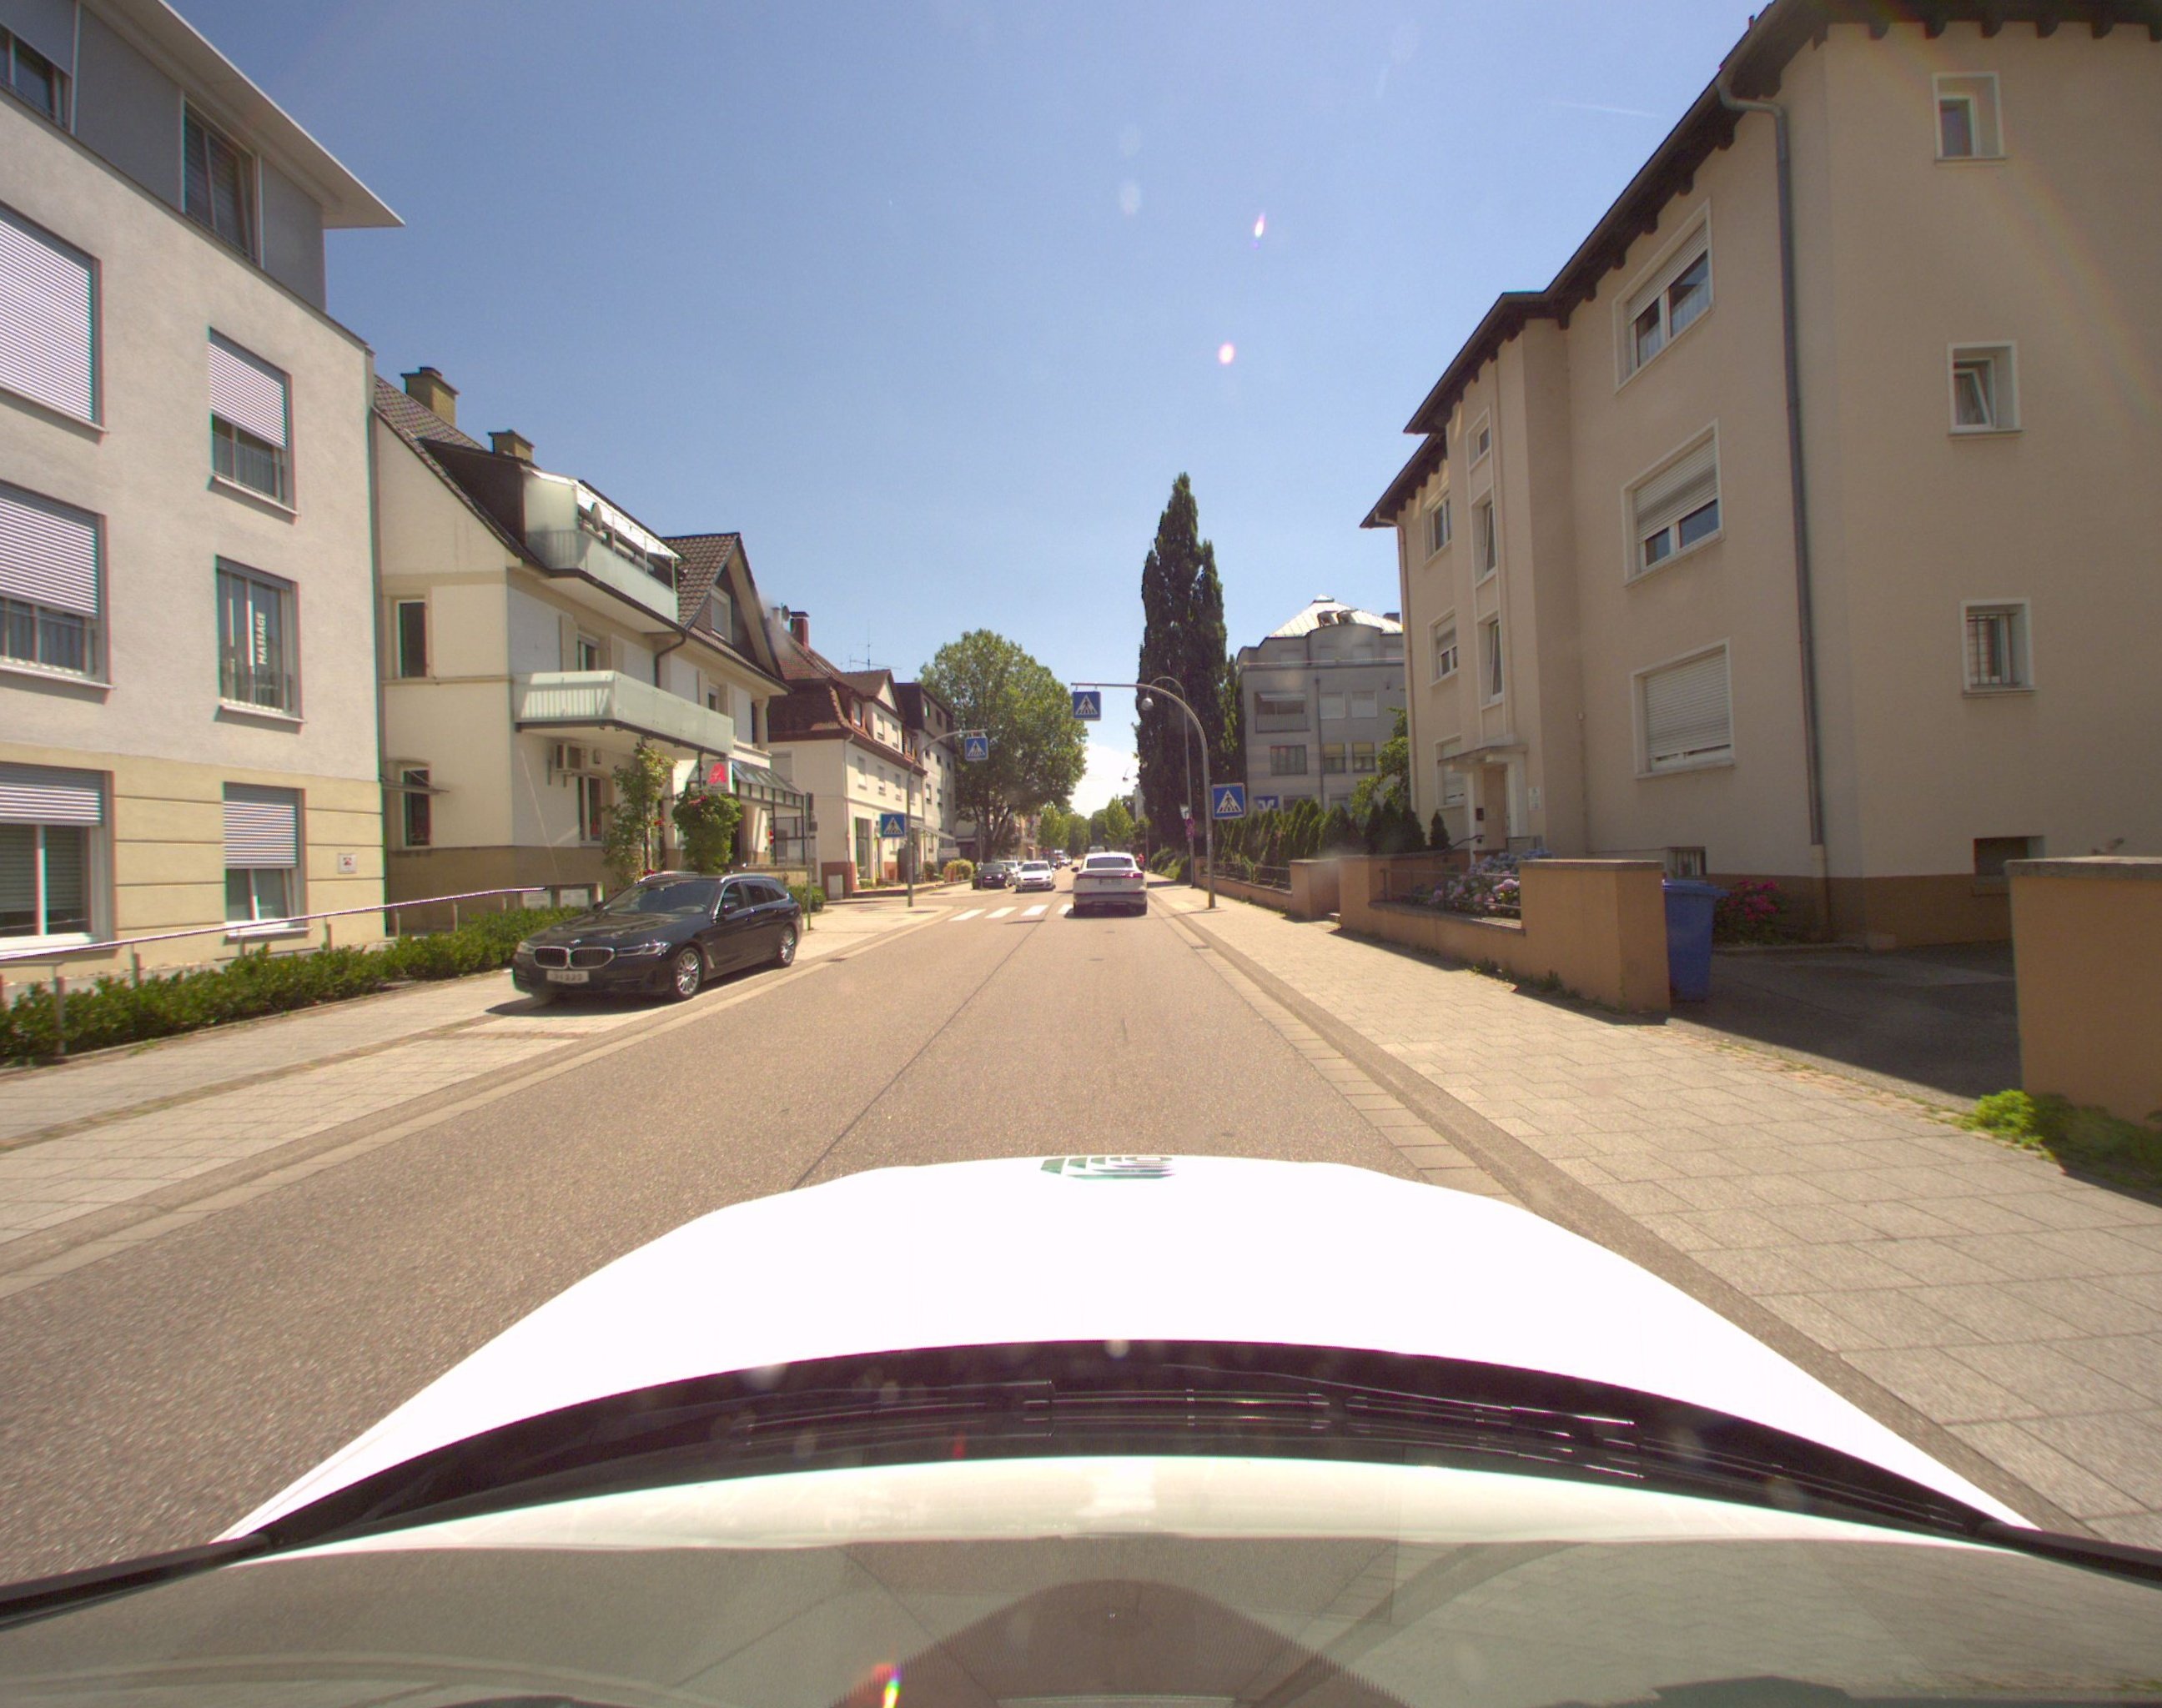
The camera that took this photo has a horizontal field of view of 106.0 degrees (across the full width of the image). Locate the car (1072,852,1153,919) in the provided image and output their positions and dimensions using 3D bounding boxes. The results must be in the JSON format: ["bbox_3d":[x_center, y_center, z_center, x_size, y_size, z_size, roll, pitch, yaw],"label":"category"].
[{"bbox_3d":[0.793,0.779,22.148,1.987,1.633,3.999,-1,0,0],"label":"car"}]

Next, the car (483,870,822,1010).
[{"bbox_3d":[-5.526,0.990,11.516,1.909,1.452,5.151,0,0,2],"label":"car"}]

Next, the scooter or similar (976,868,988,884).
[{"bbox_3d":[-6.956,1.555,57.322,0.660,1.098,1.029,0,0,2],"label":"scooter or similar"}]

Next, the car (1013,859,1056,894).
[{"bbox_3d":[-2.192,1.068,39.507,1.802,1.482,3.868,-4,0,-1],"label":"car"}]

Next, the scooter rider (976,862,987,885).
[{"bbox_3d":[-6.968,1.331,57.029,0.586,1.575,0.878,0,0,2],"label":"scooter rider"}]

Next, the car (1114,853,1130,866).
[{"bbox_3d":[5.934,0.808,117.241,1.891,1.674,4.688,-4,0,-1],"label":"car"}]

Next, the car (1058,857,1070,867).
[{"bbox_3d":[-2.823,1.269,133.802,1.745,1.618,4.403,0,0,2],"label":"car"}]

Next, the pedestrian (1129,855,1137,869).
[{"bbox_3d":[6.031,0.916,94.877,0.698,1.626,0.783,-5,-1,0],"label":"pedestrian"}]

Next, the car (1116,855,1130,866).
[{"bbox_3d":[5.751,0.884,111.100,1.888,1.438,4.548,-2,0,3],"label":"car"}]

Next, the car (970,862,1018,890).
[{"bbox_3d":[-4.740,1.170,45.251,1.935,1.373,5.100,-2,0,2],"label":"car"}]

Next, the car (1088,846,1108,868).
[{"bbox_3d":[1.980,0.383,93.421,2.148,2.442,5.285,0,-1,1],"label":"car"}]

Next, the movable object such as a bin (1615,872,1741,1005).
[{"bbox_3d":[5.294,0.727,7.254,0.622,1.099,0.633,-3,-1,3],"label":"movable object such as a bin"}]

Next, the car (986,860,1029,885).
[{"bbox_3d":[-4.569,1.130,51.321,1.973,1.452,5.360,-1,0,2],"label":"car"}]

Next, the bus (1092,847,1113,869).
[{"bbox_3d":[3.204,0.613,120.003,2.649,3.221,7.308,0,-1,4],"label":"bus"}]

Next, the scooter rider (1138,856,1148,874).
[{"bbox_3d":[5.457,0.939,72.144,0.714,1.548,0.770,-3,0,-1],"label":"scooter rider"}]

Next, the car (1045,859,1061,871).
[{"bbox_3d":[-3.544,1.353,104.016,1.889,1.417,5.048,0,0,1],"label":"car"}]
